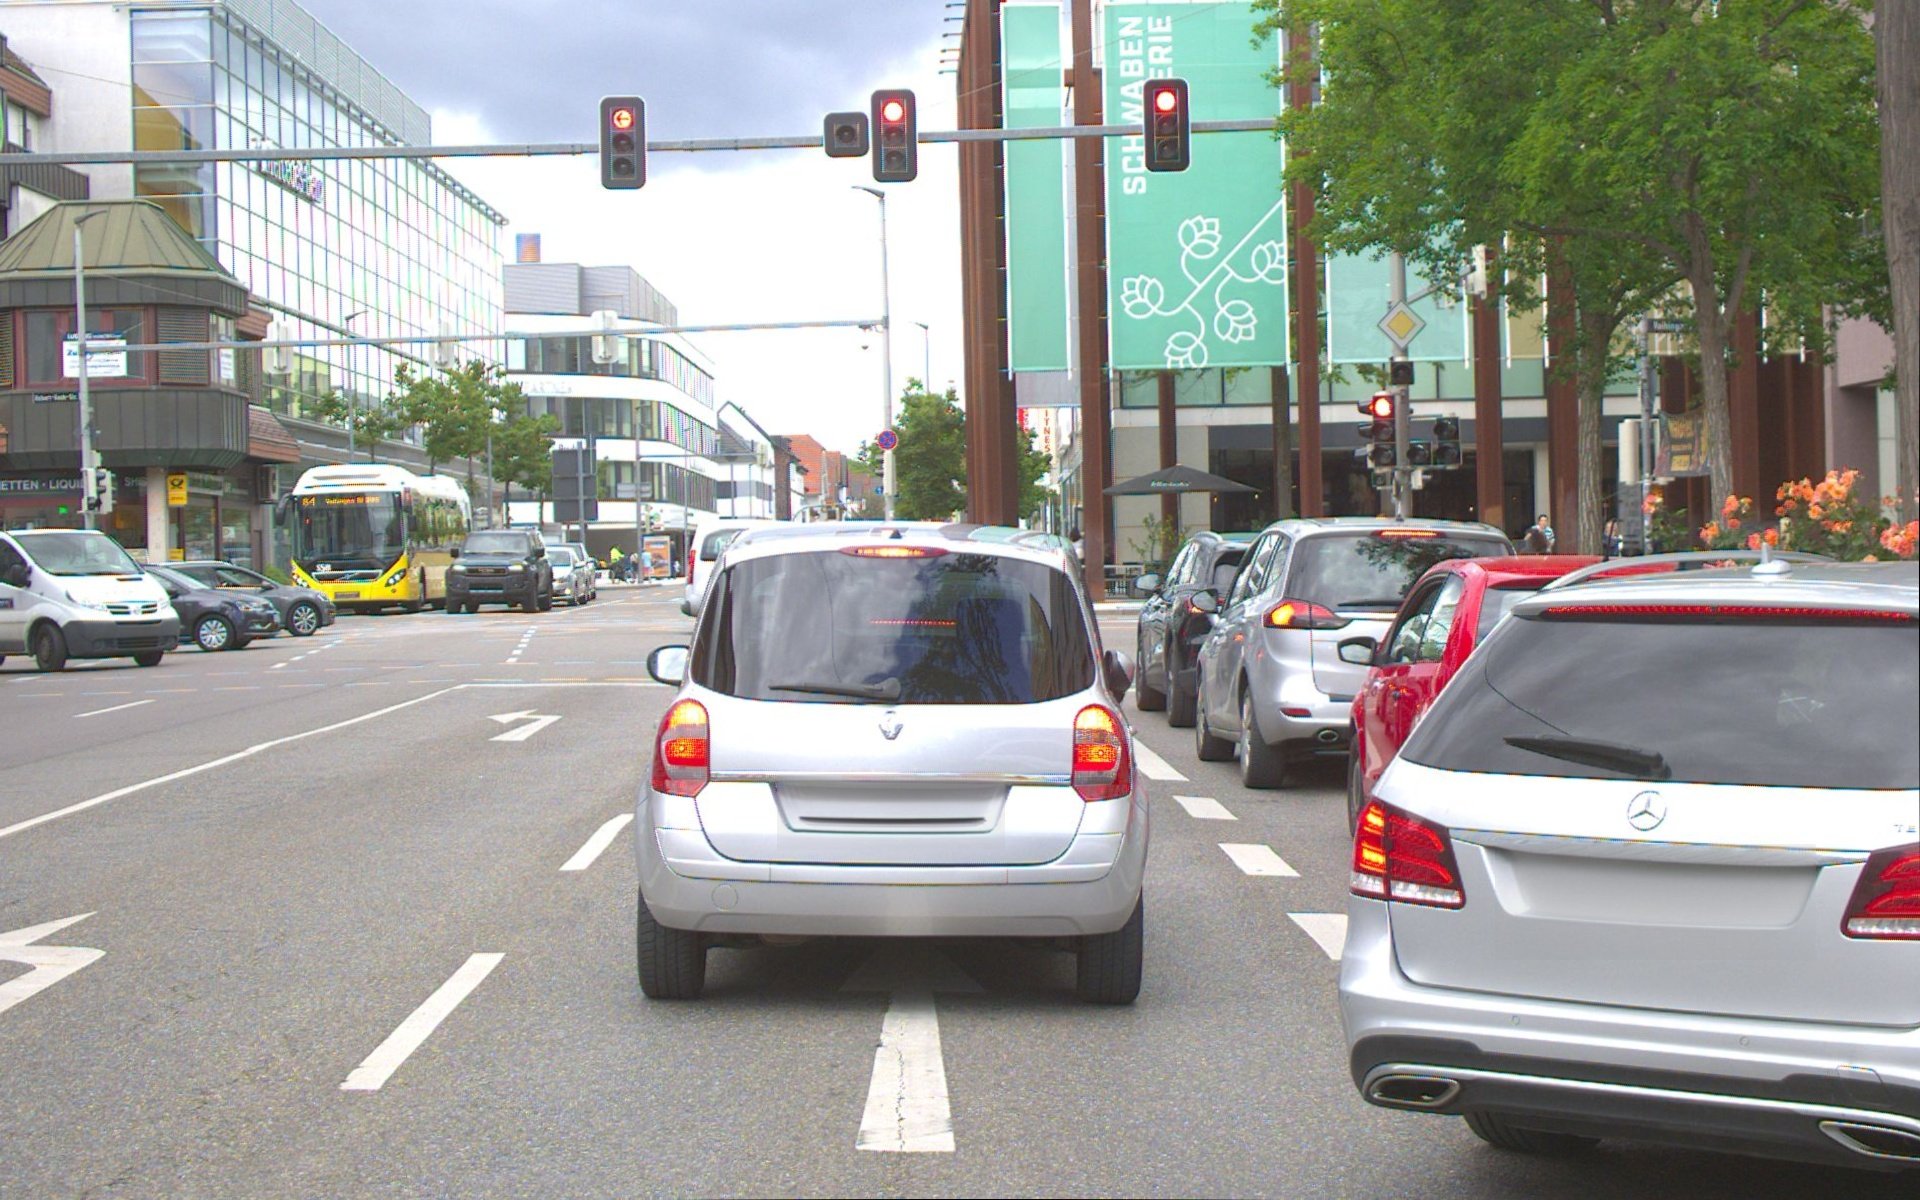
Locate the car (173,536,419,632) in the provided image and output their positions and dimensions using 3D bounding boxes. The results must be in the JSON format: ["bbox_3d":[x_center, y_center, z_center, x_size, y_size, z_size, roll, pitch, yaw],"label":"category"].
[{"bbox_3d":[-12.186,-0.310,63.276,1.921,1.671,4.233,0,1,37],"label":"car"}]

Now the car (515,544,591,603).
[{"bbox_3d":[-9.923,-0.672,83.936,1.555,1.387,3.288,-1,1,-2],"label":"car"}]

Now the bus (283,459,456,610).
[{"bbox_3d":[-13.466,-1.502,78.993,2.686,3.250,8.654,-1,1,-2],"label":"bus"}]

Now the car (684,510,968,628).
[{"bbox_3d":[-2.088,-0.501,54.091,4.385,1.767,1.327,-1,1,0],"label":"car"}]

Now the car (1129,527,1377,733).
[{"bbox_3d":[2.395,0.199,28.899,1.586,1.589,3.868,1,1,-2],"label":"car"}]

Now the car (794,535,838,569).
[{"bbox_3d":[-6.765,-2.266,161.489,1.801,1.535,4.065,-1,1,1],"label":"car"}]

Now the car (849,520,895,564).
[{"bbox_3d":[-4.000,-2.657,156.047,1.993,1.942,4.951,-1,1,-2],"label":"car"}]

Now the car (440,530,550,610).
[{"bbox_3d":[-10.303,-0.686,76.388,1.993,1.700,4.065,-1,1,-2],"label":"car"}]

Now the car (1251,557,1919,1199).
[{"bbox_3d":[2.701,0.649,8.792,1.819,1.443,4.360,2,1,37],"label":"car"}]

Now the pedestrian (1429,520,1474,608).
[{"bbox_3d":[9.207,-0.679,64.427,0.651,1.645,0.559,-1,1,-15],"label":"pedestrian"}]

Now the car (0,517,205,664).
[{"bbox_3d":[-13.000,-0.110,47.537,5.152,1.881,1.996,-1,1,36],"label":"car"}]

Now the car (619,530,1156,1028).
[{"bbox_3d":[-0.243,0.519,12.256,1.640,1.522,3.394,0,1,-1],"label":"car"}]

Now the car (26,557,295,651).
[{"bbox_3d":[-12.586,0.056,54.274,3.830,1.384,1.684,-1,1,0],"label":"car"}]

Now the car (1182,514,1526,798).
[{"bbox_3d":[2.421,0.293,21.996,1.586,1.628,3.917,1,1,-2],"label":"car"}]

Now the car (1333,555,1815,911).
[{"bbox_3d":[2.729,0.531,15.942,1.586,1.438,3.348,1,1,0],"label":"car"}]
